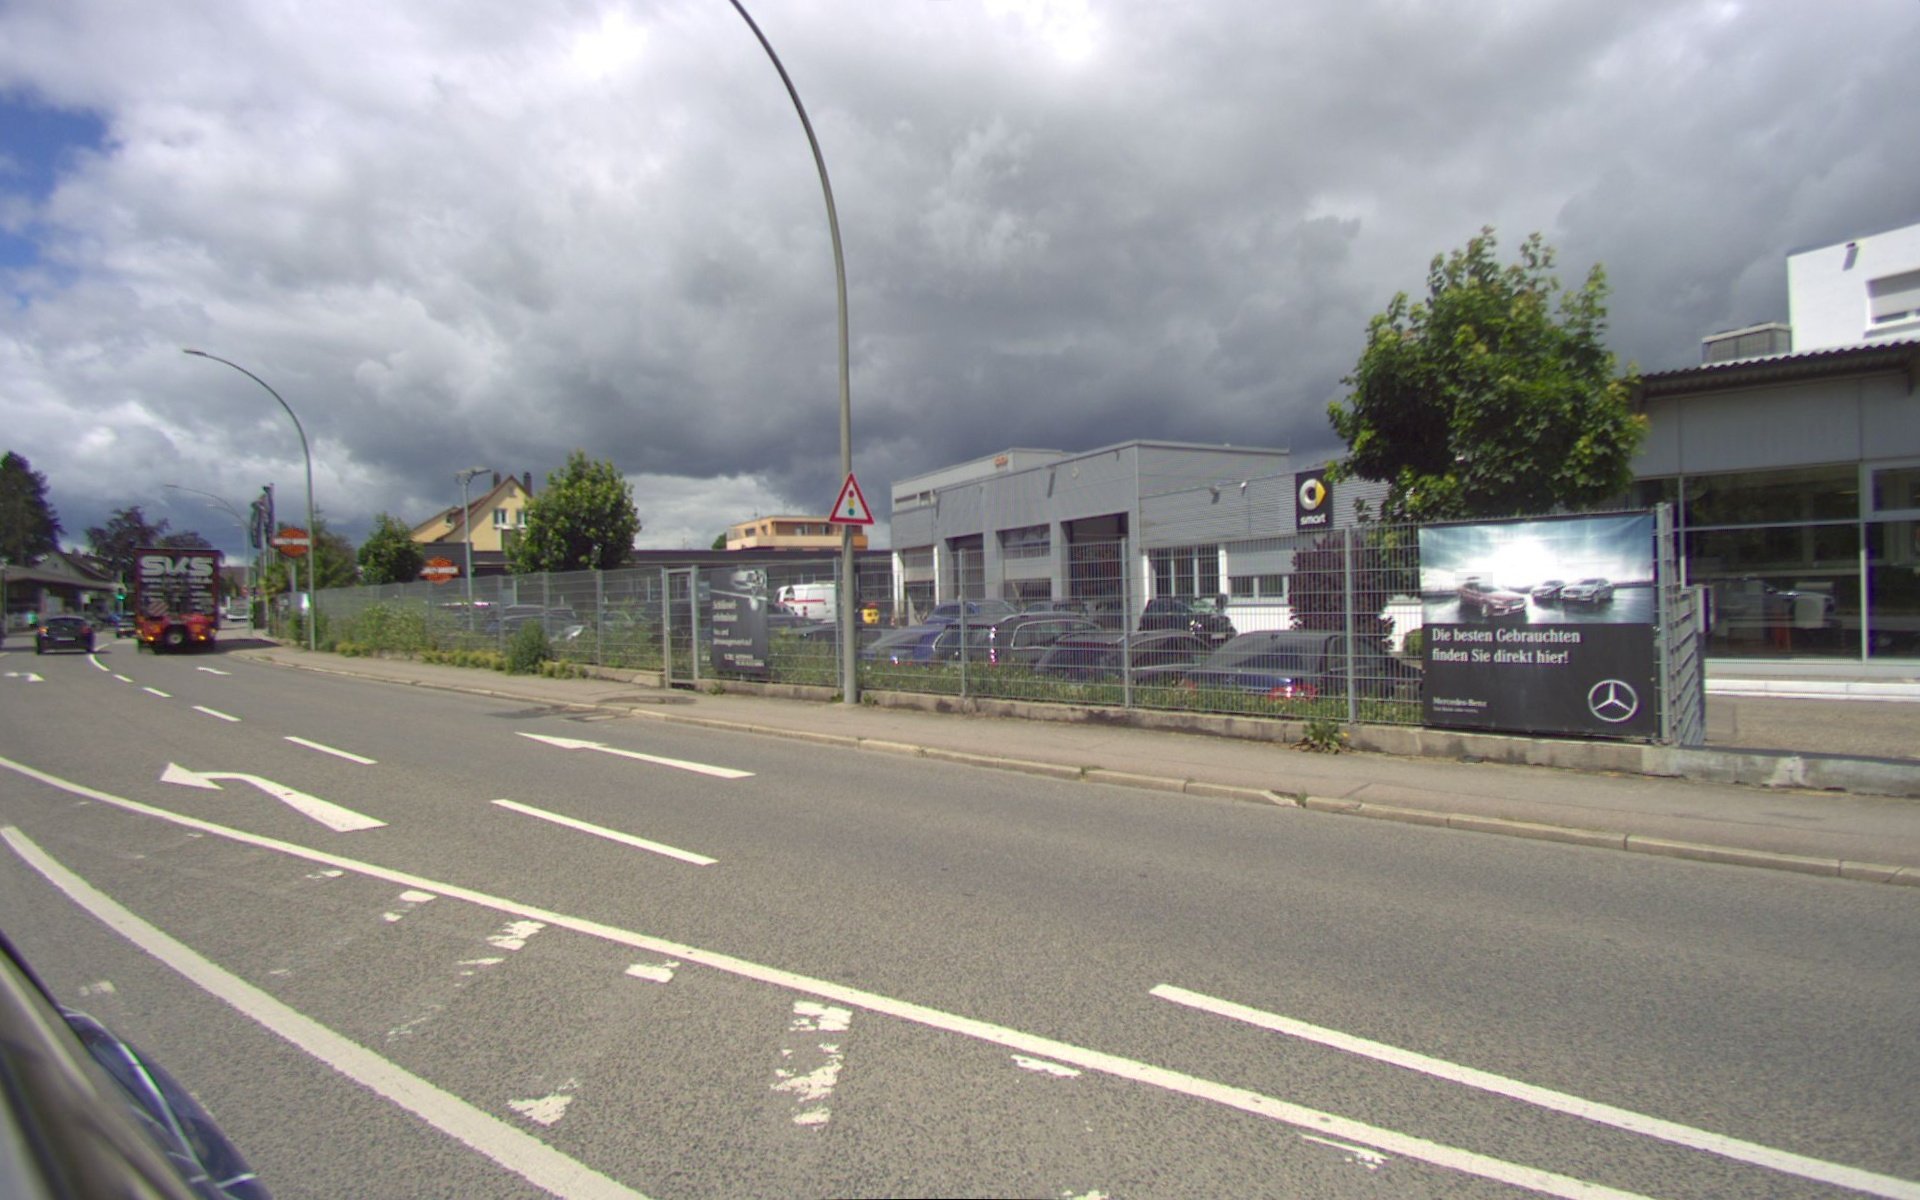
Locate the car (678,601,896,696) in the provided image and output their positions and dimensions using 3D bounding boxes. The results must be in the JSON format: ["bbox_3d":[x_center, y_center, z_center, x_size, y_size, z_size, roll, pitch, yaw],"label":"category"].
[{"bbox_3d":[-3.579,0.942,21.350,4.141,1.713,1.927,-2,0,-43],"label":"car"}]

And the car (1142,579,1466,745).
[{"bbox_3d":[4.464,0.632,12.835,4.141,1.713,2.176,-2,0,-43],"label":"car"}]

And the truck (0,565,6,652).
[{"bbox_3d":[-42.115,0.359,42.267,2.625,3.840,9.832,-1,0,-40],"label":"truck"}]

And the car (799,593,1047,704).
[{"bbox_3d":[-0.579,0.771,18.400,2.174,1.713,4.144,-1,0,44],"label":"car"}]

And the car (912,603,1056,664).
[{"bbox_3d":[0.609,0.902,28.778,1.909,1.559,4.094,-1,0,-38],"label":"car"}]

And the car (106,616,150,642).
[{"bbox_3d":[-49.084,1.687,59.691,1.817,1.474,4.258,1,-1,-42],"label":"car"}]

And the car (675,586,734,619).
[{"bbox_3d":[-13.196,0.118,52.127,1.698,1.617,4.163,-1,1,-32],"label":"car"}]

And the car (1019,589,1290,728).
[{"bbox_3d":[2.910,0.716,14.624,4.033,1.678,1.797,-2,0,-43],"label":"car"}]

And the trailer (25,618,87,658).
[{"bbox_3d":[-34.379,1.417,38.562,1.627,1.434,4.006,1,-2,-40],"label":"trailer"}]

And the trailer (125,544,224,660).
[{"bbox_3d":[-33.131,0.119,42.661,2.763,4.083,15.587,-1,0,-38],"label":"trailer"}]

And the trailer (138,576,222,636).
[{"bbox_3d":[-59.185,0.439,77.170,2.733,4.176,15.399,-1,0,-29],"label":"trailer"}]

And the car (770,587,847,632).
[{"bbox_3d":[-7.037,0.398,46.688,1.754,1.914,4.744,-1,1,-31],"label":"car"}]

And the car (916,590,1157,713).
[{"bbox_3d":[1.331,0.740,16.508,3.850,1.713,1.793,-2,0,-44],"label":"car"}]

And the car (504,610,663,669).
[{"bbox_3d":[-10.395,1.048,28.130,1.687,1.404,3.812,-1,0,42],"label":"car"}]
